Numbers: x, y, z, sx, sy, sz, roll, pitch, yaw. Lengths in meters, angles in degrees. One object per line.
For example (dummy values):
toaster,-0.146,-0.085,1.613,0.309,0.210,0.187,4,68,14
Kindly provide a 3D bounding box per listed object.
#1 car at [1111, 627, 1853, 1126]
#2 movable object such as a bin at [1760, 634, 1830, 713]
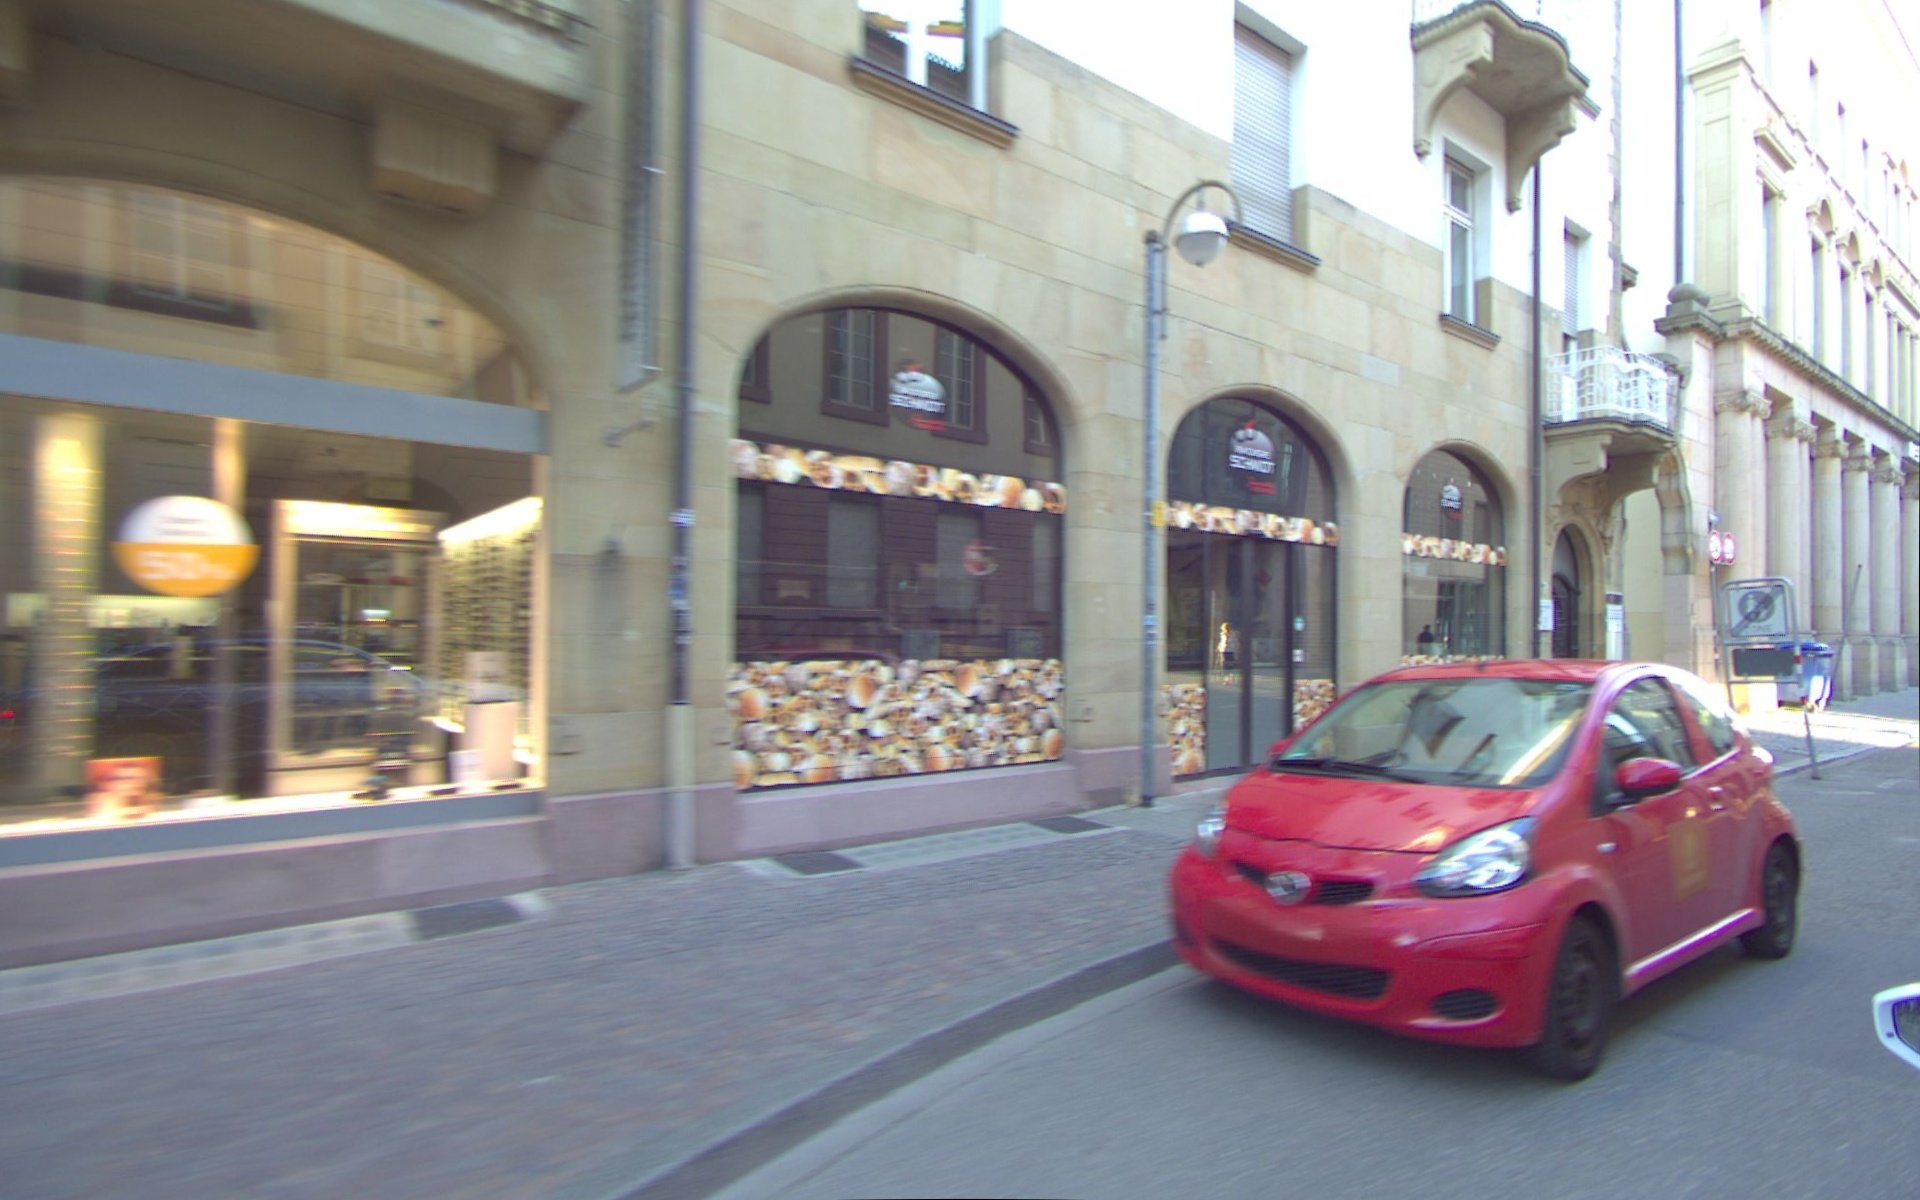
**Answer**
car,2.718,0.980,4.900,3.896,1.488,1.646,3,-7,-37
movable object such as a bin,16.770,1.451,20.171,1.279,1.523,0.823,2,-1,-37
